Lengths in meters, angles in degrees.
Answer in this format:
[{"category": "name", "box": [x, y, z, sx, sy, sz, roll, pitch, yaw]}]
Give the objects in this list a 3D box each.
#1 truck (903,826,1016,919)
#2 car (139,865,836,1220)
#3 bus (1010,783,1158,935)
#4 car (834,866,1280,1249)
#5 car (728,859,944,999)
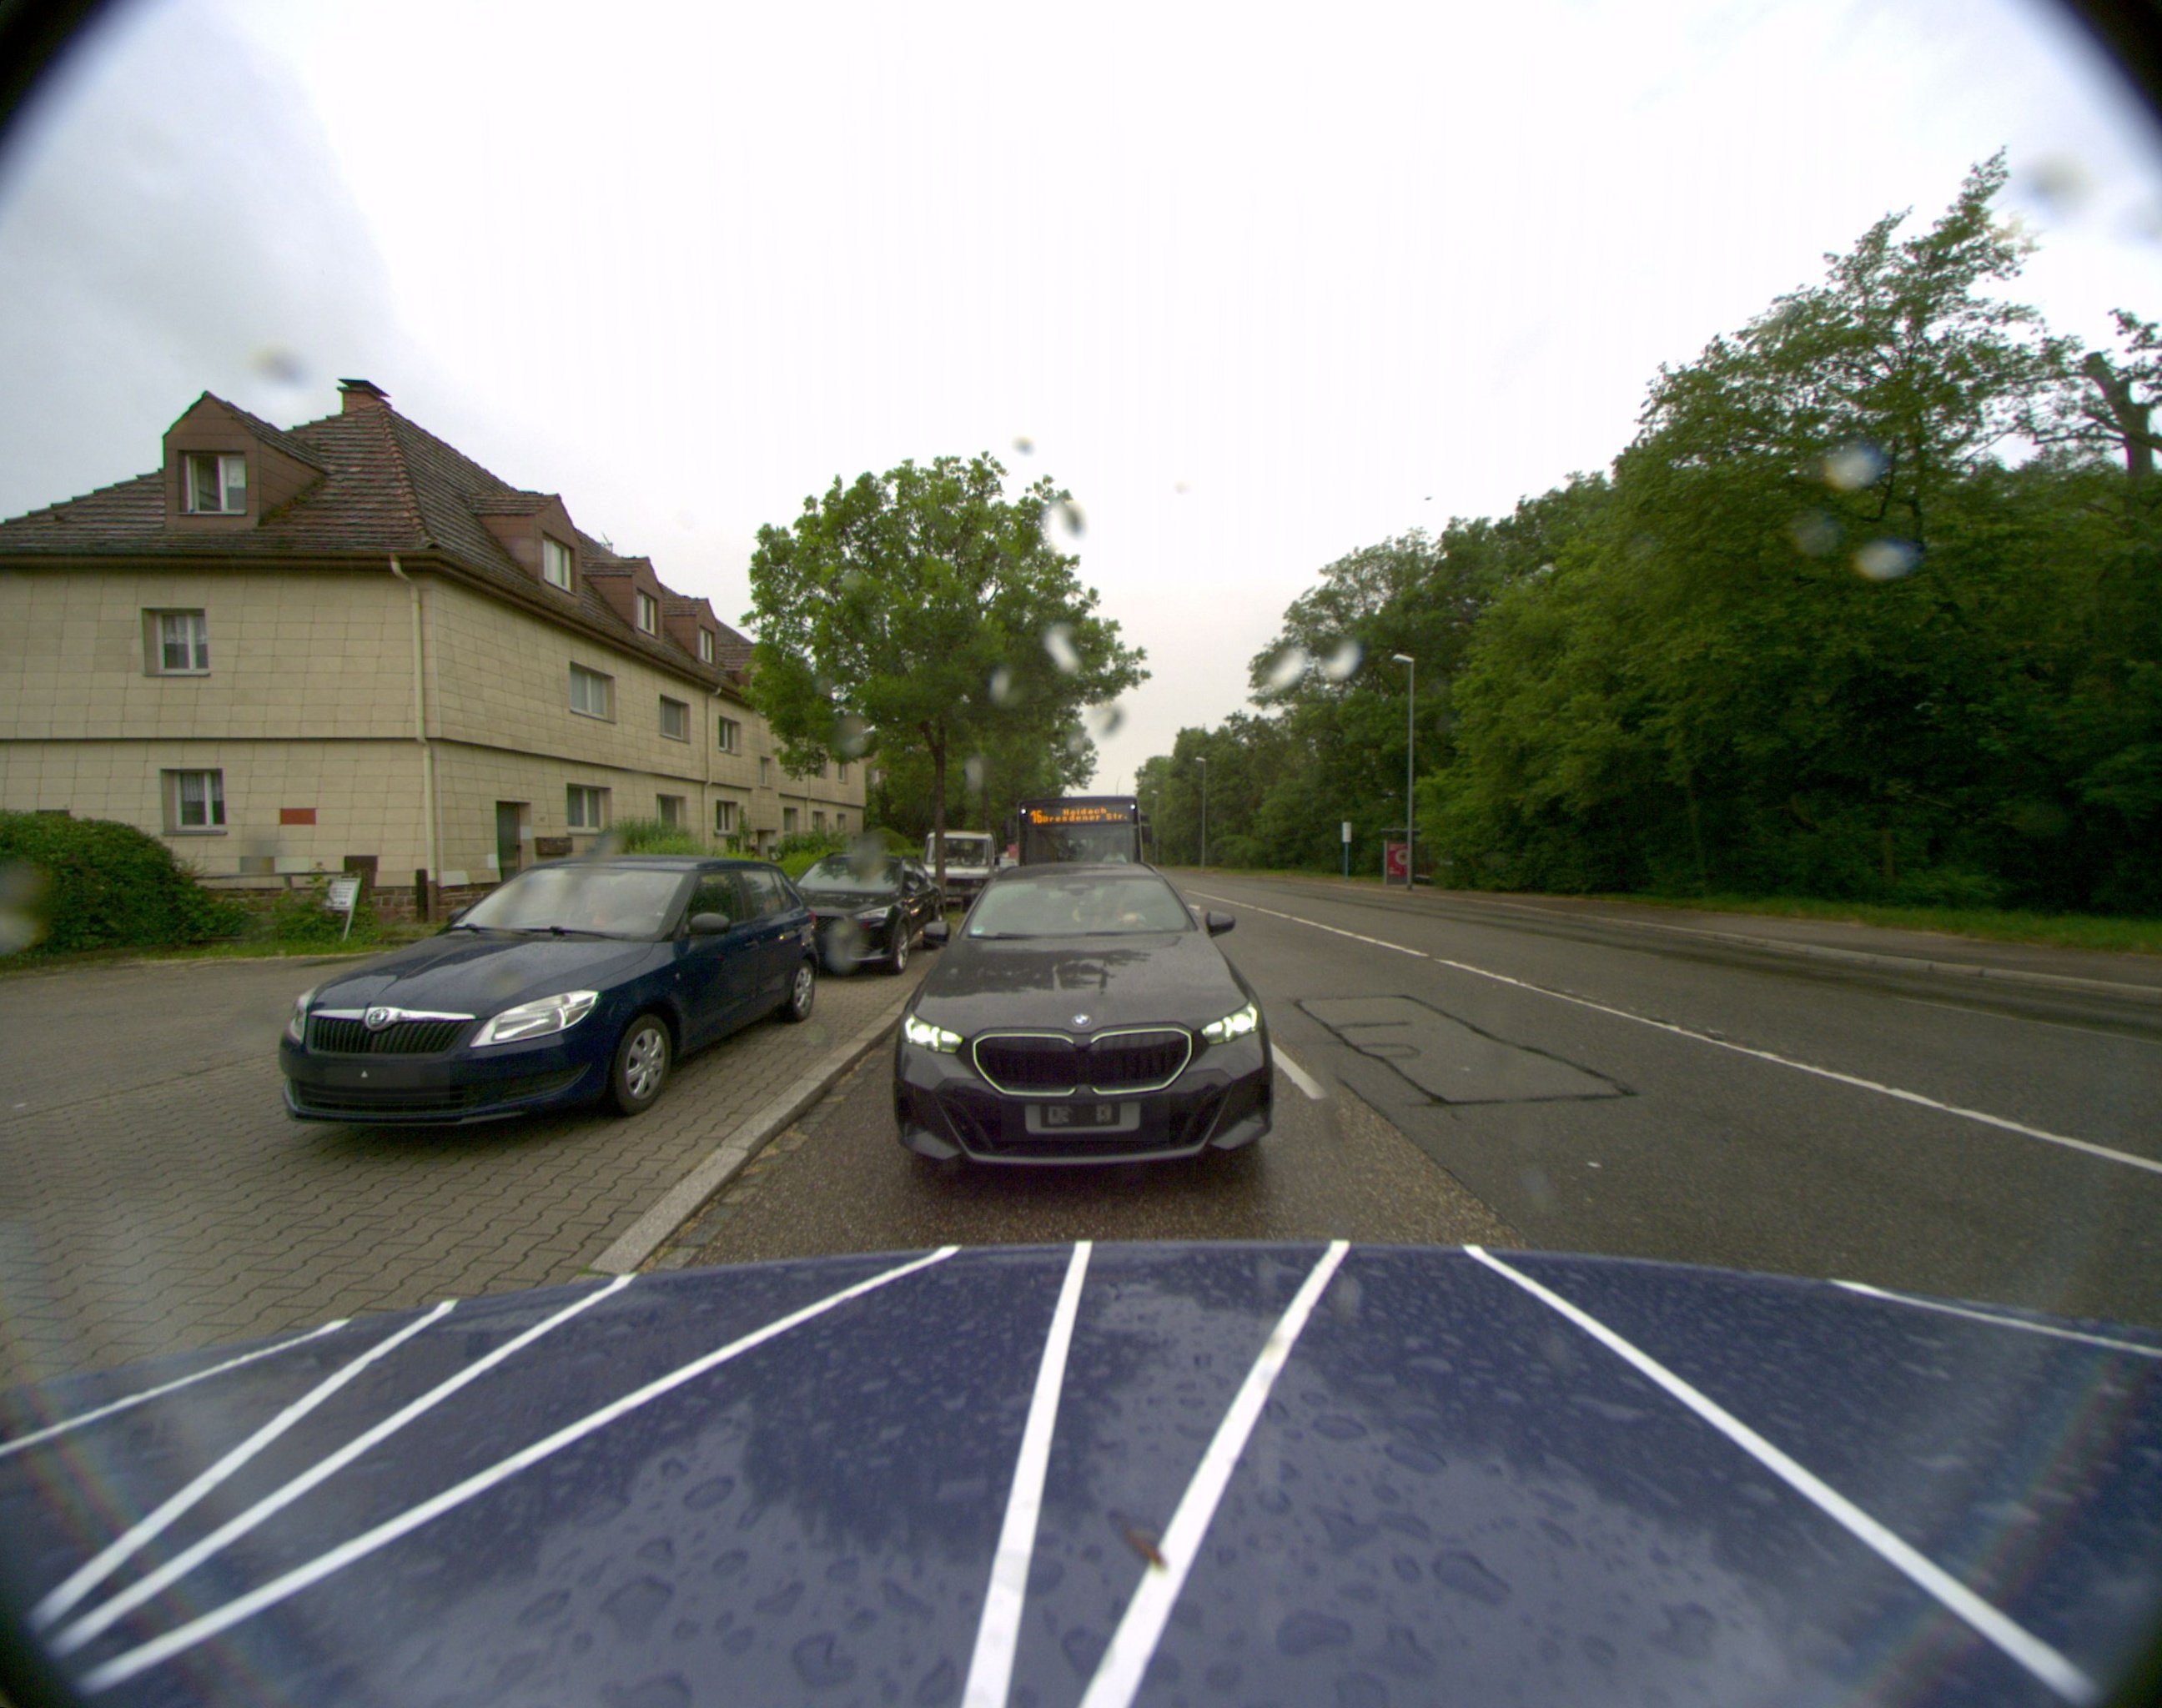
[{"category": "truck", "box": [-3.108, 0.446, 20.757, 1.998, 2.184, 5.756, 0, 0, 2]}, {"category": "car", "box": [-3.260, 0.862, 5.339, 1.720, 1.416, 3.999, 1, 1, 1]}, {"category": "bus", "box": [0.191, 0.047, 19.427, 2.767, 2.858, 9.403, -2, 1, 2]}, {"category": "car", "box": [-0.079, 0.932, 5.496, 1.882, 1.520, 4.316, -3, 0, 1]}, {"category": "car", "box": [-3.091, 0.856, 10.475, 1.720, 1.455, 3.999, 1, 1, -1]}]
